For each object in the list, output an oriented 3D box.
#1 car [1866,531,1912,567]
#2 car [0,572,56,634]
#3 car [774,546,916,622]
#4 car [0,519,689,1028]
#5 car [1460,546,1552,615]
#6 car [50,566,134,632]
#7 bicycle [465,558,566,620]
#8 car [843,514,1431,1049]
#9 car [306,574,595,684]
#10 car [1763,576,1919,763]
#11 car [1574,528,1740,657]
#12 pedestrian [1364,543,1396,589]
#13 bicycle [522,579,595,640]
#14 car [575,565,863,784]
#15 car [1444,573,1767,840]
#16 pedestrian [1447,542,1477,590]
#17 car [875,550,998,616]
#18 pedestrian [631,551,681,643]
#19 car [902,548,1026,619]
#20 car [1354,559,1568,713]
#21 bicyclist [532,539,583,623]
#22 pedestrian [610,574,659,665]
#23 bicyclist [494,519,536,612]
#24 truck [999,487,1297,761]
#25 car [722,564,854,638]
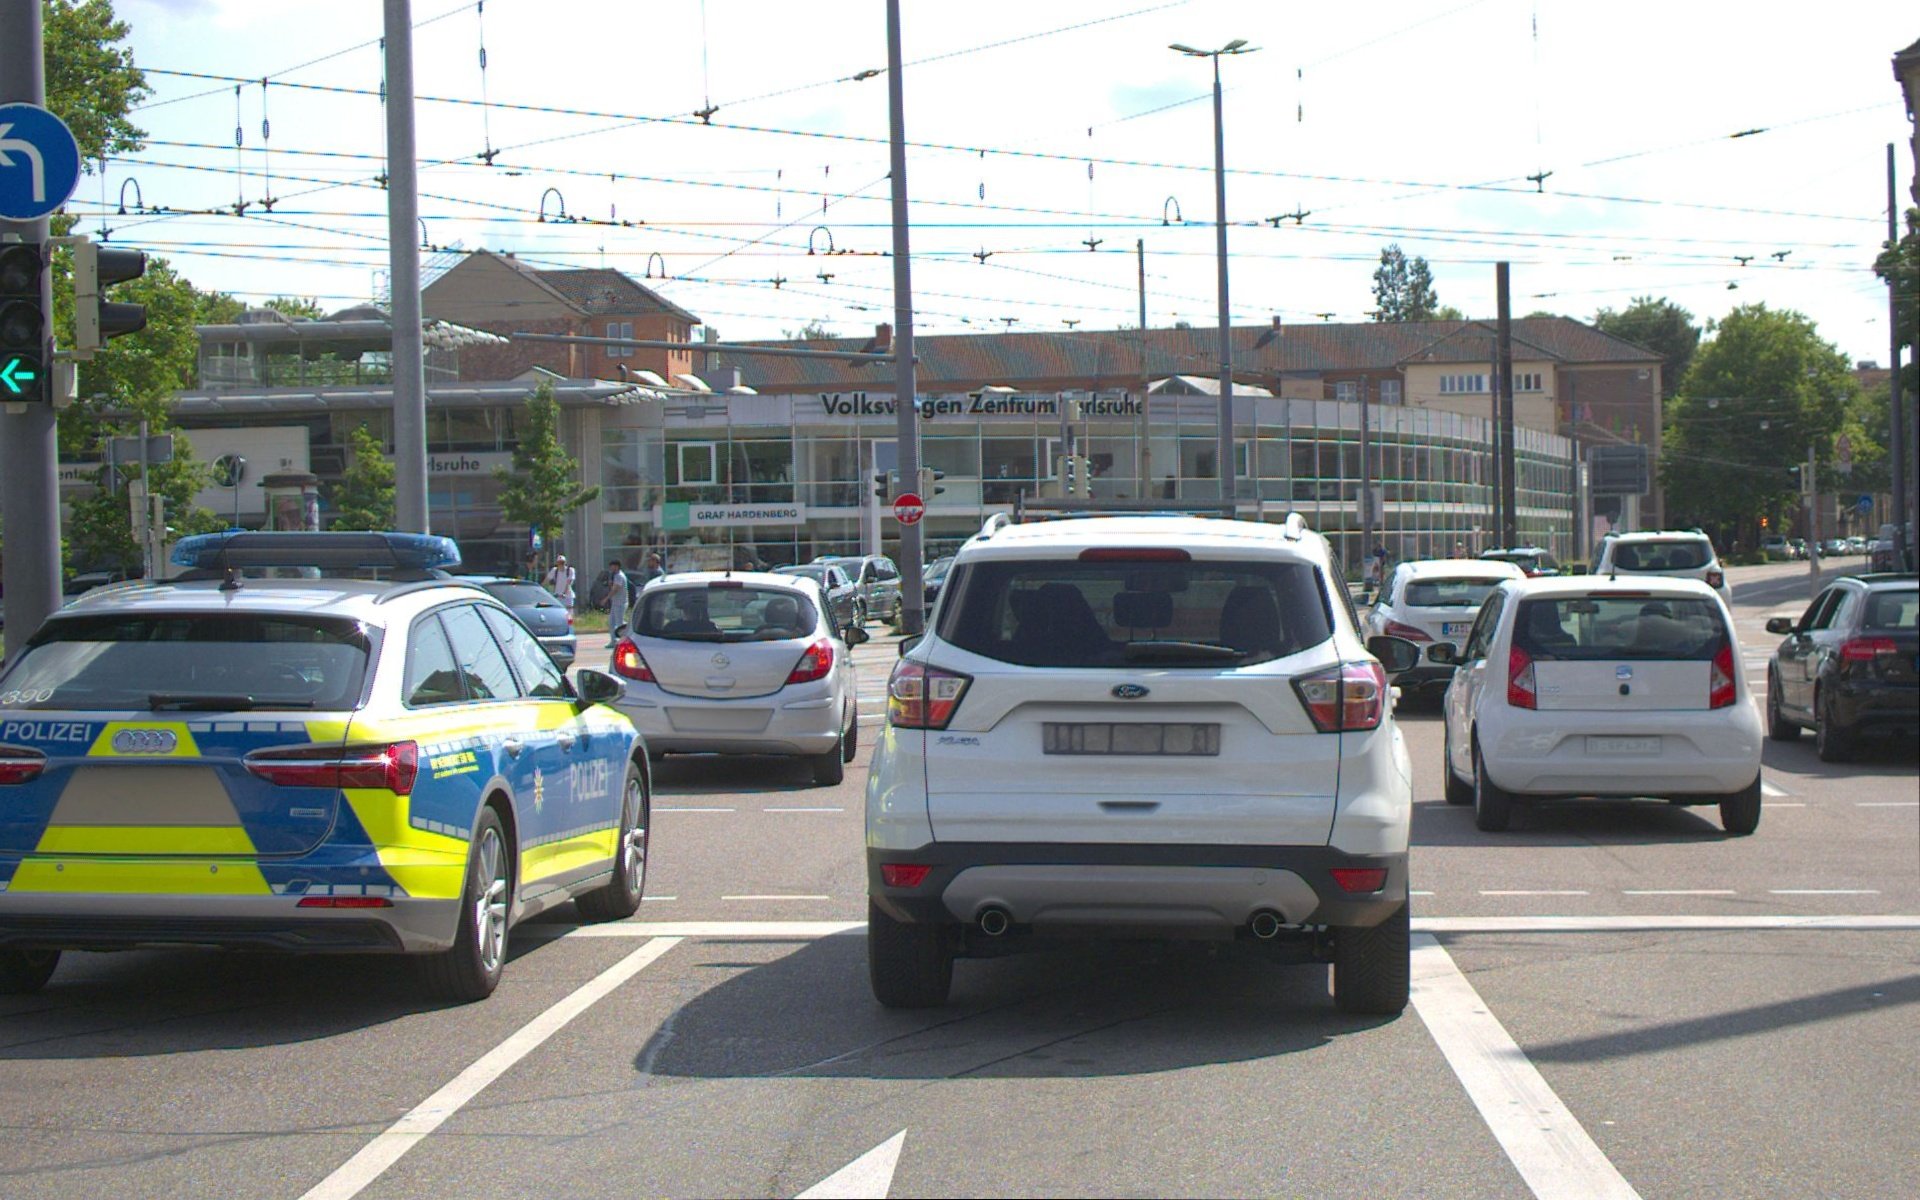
[{"bbox_3d":[43.082,-2.355,159.454,1.838,1.646,3.996,0,0,18],"label":"car"},{"bbox_3d":[-31.102,0.129,112.970,1.967,1.930,4.231,-3,0,-6],"label":"car"},{"bbox_3d":[-2.559,-0.372,77.587,1.739,1.568,3.996,-2,1,21],"label":"car"},{"bbox_3d":[-2.333,0.551,13.027,1.880,1.563,4.614,-1,0,5],"label":"car"},{"bbox_3d":[11.482,-0.416,72.228,1.850,1.414,3.677,0,0,9],"label":"car"},{"bbox_3d":[-28.438,-0.012,112.772,1.993,2.007,4.231,-3,0,-6],"label":"car"},{"bbox_3d":[-8.333,-0.210,64.468,1.778,1.121,0.640,-1,1,3],"label":"bicycle"},{"bbox_3d":[0.610,0.548,12.677,1.827,1.658,3.955,0,0,2],"label":"car"},{"bbox_3d":[-6.729,0.377,45.165,1.738,1.372,3.997,-1,0,-44],"label":"car"},{"bbox_3d":[7.523,0.503,27.445,1.699,1.367,4.132,0,0,7],"label":"car"},{"bbox_3d":[9.257,-0.098,45.909,1.837,1.646,3.999,0,0,7],"label":"car"},{"bbox_3d":[15.952,-1.300,130.499,0.877,1.731,0.874,1,0,34],"label":"pedestrian"},{"bbox_3d":[-8.182,0.186,70.083,0.760,1.188,2.149,-2,1,13],"label":"bicycle"},{"bbox_3d":[-1.700,0.488,25.444,1.848,1.469,4.000,1,1,0],"label":"car"},{"bbox_3d":[3.878,0.581,21.180,1.650,1.417,3.999,-1,1,7],"label":"car"},{"bbox_3d":[20.047,-1.362,137.217,0.876,1.916,0.875,1,0,32],"label":"pedestrian"},{"bbox_3d":[-0.551,-0.430,84.421,1.628,1.456,3.965,-2,1,21],"label":"car"},{"bbox_3d":[-5.796,-0.060,65.572,0.923,1.738,0.589,1,0,-4],"label":"pedestrian"},{"bbox_3d":[0.121,-0.382,77.019,1.690,1.456,3.966,-2,1,16],"label":"car"},{"bbox_3d":[4.839,0.324,33.603,1.850,1.414,3.678,0,0,5],"label":"car"},{"bbox_3d":[-8.207,-0.397,70.087,0.760,1.677,0.760,-2,1,13],"label":"bicyclist"},{"bbox_3d":[-6.286,0.381,66.460,0.923,1.738,0.589,1,0,-4],"label":"pedestrian"},{"bbox_3d":[-8.342,-0.645,64.448,0.660,1.732,0.640,0,1,3],"label":"bicyclist"},{"bbox_3d":[1.613,0.162,30.101,2.339,2.148,5.851,0,1,3],"label":"truck"},{"bbox_3d":[-3.440,-0.004,69.518,1.738,1.368,3.639,-2,1,12],"label":"car"}]
